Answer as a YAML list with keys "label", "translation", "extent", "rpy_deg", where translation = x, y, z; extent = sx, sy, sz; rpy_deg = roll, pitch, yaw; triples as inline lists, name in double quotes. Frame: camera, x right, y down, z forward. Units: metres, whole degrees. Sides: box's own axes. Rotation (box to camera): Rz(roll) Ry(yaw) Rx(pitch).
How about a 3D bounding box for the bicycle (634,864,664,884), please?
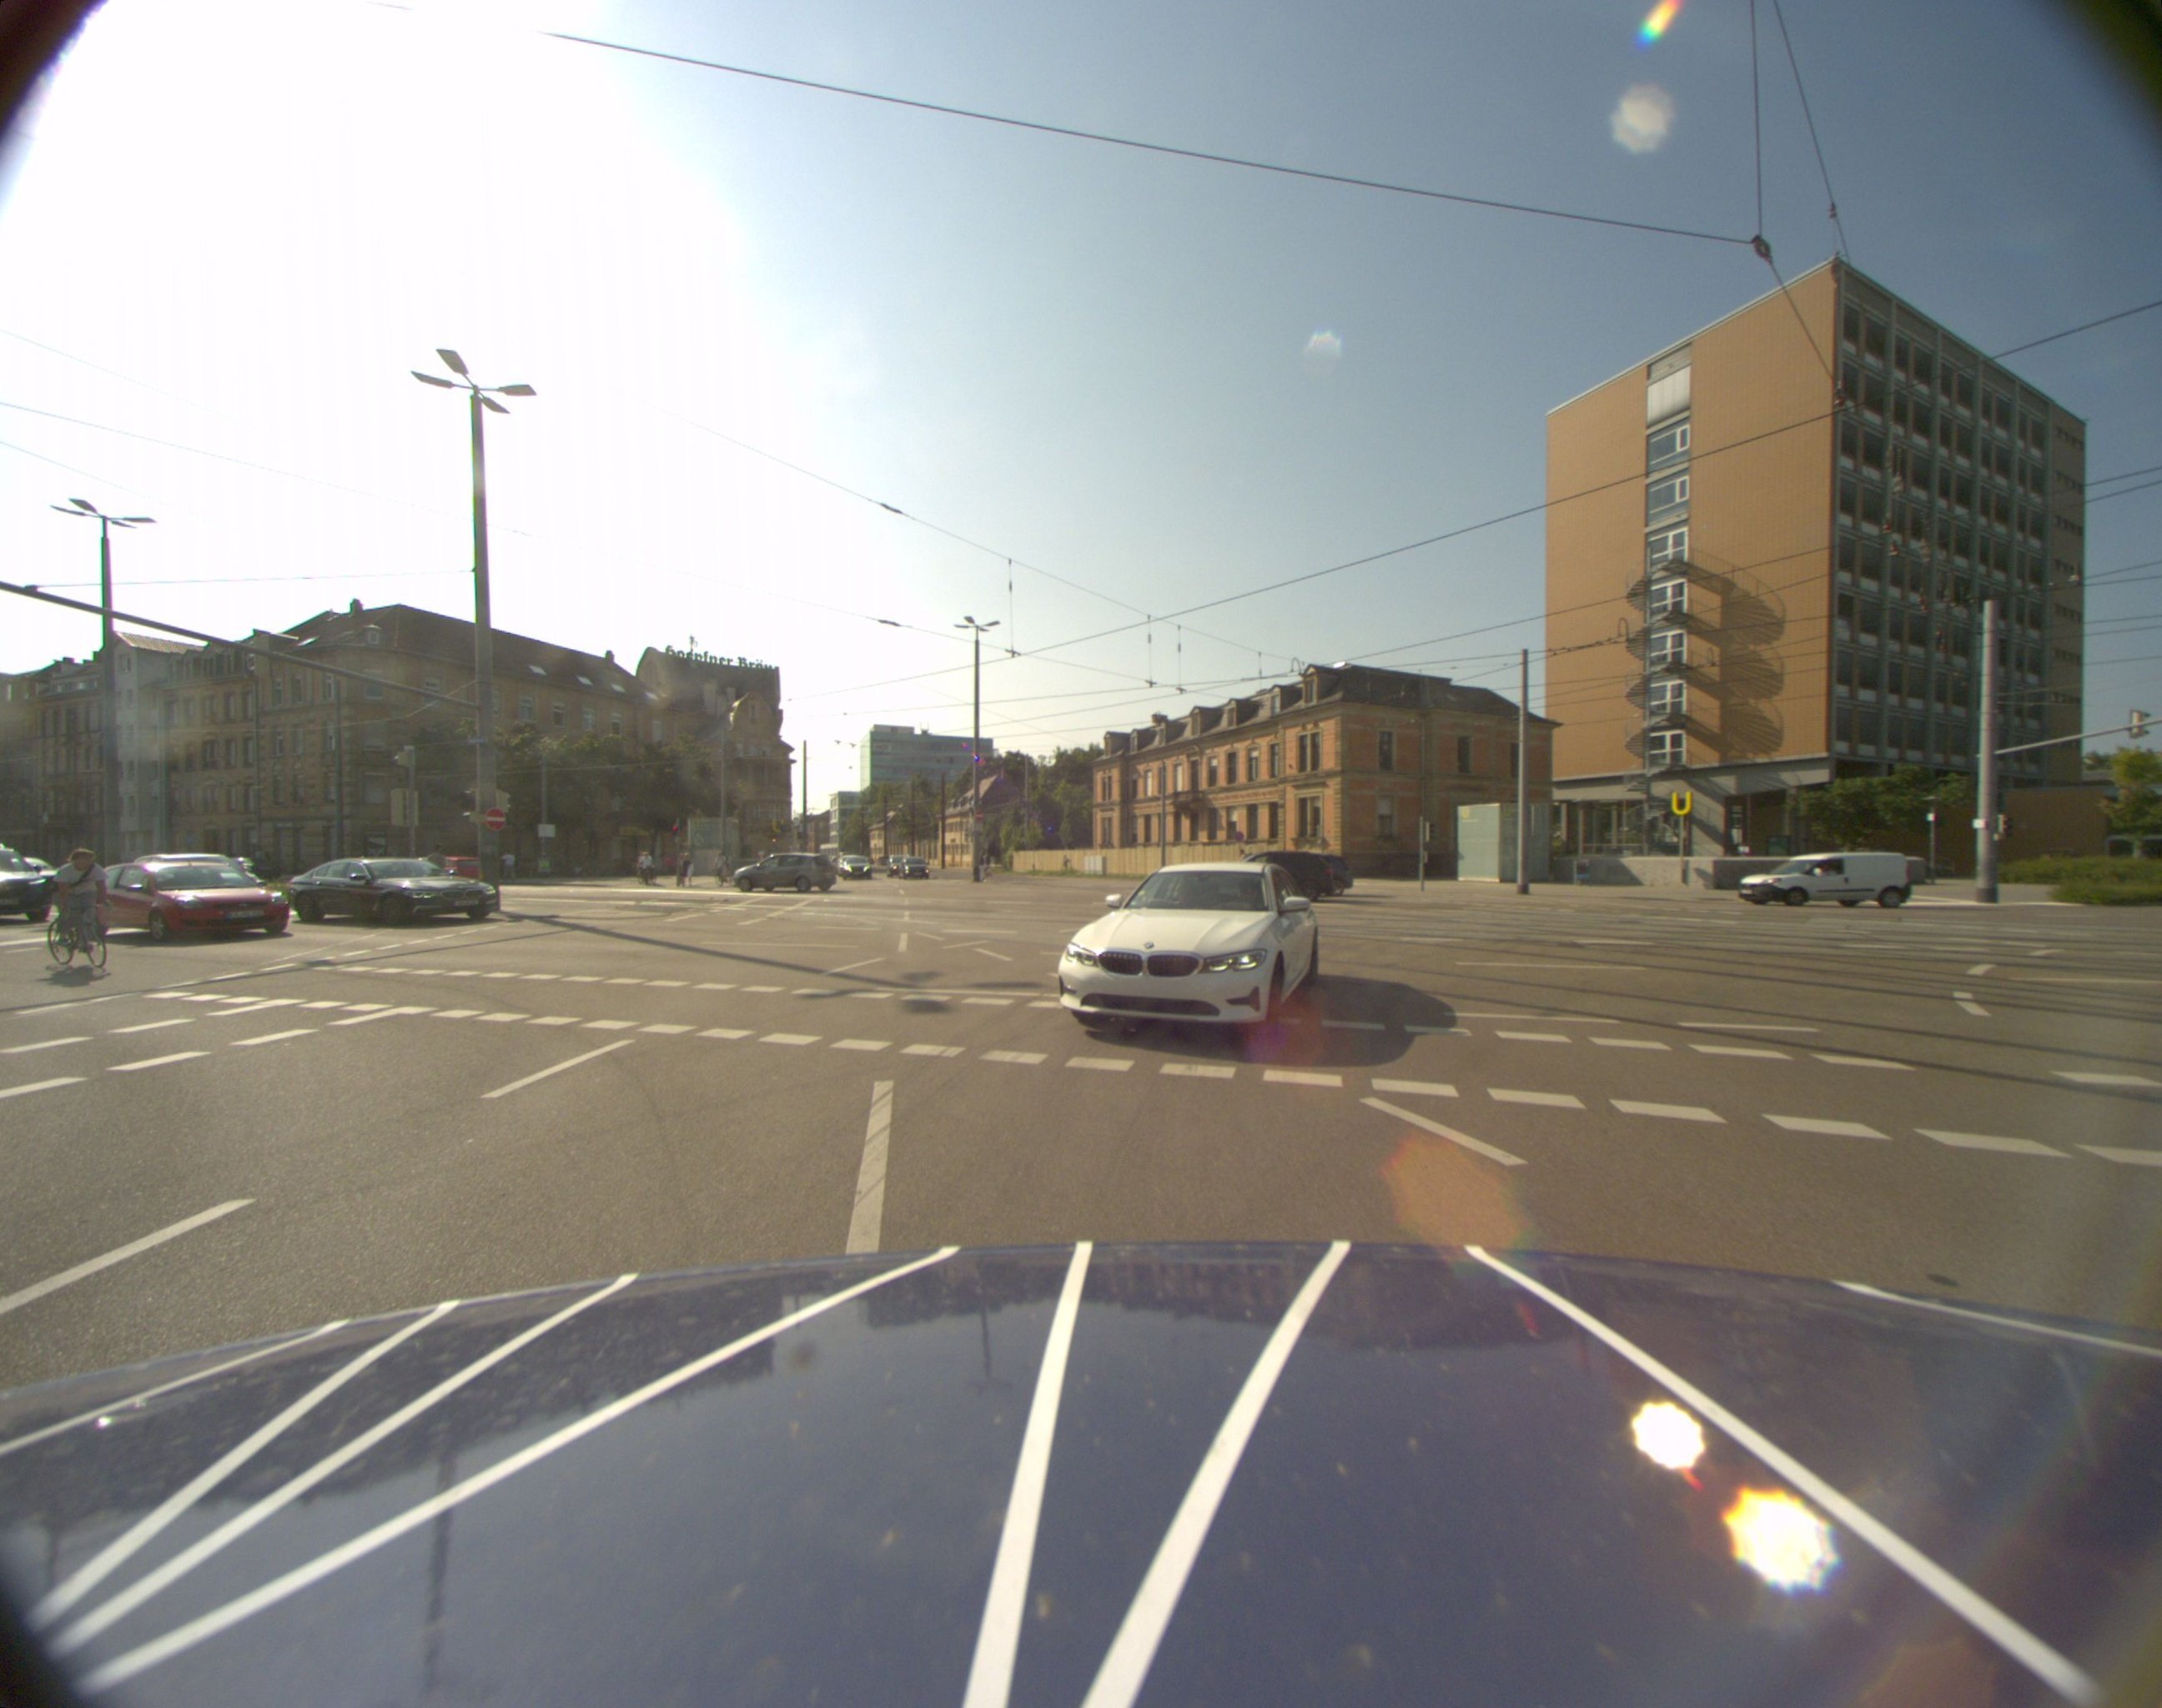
- label: "bicycle"
  translation: [-22.607, 1.040, 39.773]
  extent: [0.433, 1.019, 1.528]
  rpy_deg: [0, 0, 13]

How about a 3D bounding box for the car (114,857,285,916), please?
- label: "car"
  translation: [-23.617, 0.818, 20.385]
  extent: [3.549, 1.427, 1.806]
  rpy_deg: [0, 0, 19]

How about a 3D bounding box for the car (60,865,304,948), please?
- label: "car"
  translation: [-17.751, 0.958, 15.032]
  extent: [3.991, 1.407, 1.806]
  rpy_deg: [0, 0, 19]

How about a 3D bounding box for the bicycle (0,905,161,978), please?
- label: "bicycle"
  translation: [-14.929, 1.276, 11.200]
  extent: [2.195, 0.983, 0.529]
  rpy_deg: [0, 2, 4]

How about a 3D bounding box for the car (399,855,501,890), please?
- label: "car"
  translation: [-26.668, 0.755, 32.128]
  extent: [3.771, 1.439, 1.679]
  rpy_deg: [0, 0, 21]

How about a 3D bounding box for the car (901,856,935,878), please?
- label: "car"
  translation: [-10.749, 0.831, 49.899]
  extent: [1.695, 1.319, 3.993]
  rpy_deg: [0, 0, -20]

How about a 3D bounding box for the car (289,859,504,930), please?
- label: "car"
  translation: [-15.729, 0.861, 17.477]
  extent: [4.340, 1.443, 1.806]
  rpy_deg: [0, 0, 19]

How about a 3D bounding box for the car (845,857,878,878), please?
- label: "car"
  translation: [-15.046, 0.874, 51.911]
  extent: [1.929, 1.368, 3.993]
  rpy_deg: [0, 0, -20]

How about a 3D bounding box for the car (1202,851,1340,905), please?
- label: "car"
  translation: [6.218, 0.782, 25.237]
  extent: [4.283, 1.696, 1.770]
  rpy_deg: [0, -1, 10]

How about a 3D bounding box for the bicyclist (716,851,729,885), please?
- label: "bicyclist"
  translation: [-18.729, 0.725, 39.729]
  extent: [0.588, 1.720, 0.594]
  rpy_deg: [-1, 0, -23]

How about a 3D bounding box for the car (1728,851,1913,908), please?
- label: "car"
  translation: [25.099, 0.854, 25.936]
  extent: [4.283, 1.875, 1.796]
  rpy_deg: [0, -1, 9]

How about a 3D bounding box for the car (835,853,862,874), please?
- label: "car"
  translation: [-18.835, 0.730, 61.417]
  extent: [1.929, 1.627, 3.993]
  rpy_deg: [0, 0, -20]

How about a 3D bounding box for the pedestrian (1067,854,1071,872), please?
- label: "pedestrian"
  translation: [-1.030, 0.773, 65.102]
  extent: [0.237, 1.522, 0.326]
  rpy_deg: [0, 1, -24]

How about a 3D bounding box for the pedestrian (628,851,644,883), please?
- label: "pedestrian"
  translation: [-23.947, 0.675, 40.917]
  extent: [0.622, 1.716, 0.506]
  rpy_deg: [0, 0, 31]

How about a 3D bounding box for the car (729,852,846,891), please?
- label: "car"
  translation: [-12.344, 0.724, 32.071]
  extent: [4.283, 1.614, 1.816]
  rpy_deg: [0, -1, 9]

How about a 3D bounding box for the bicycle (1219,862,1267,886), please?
- label: "bicycle"
  translation: [7.583, 0.939, 35.600]
  extent: [2.183, 1.089, 0.530]
  rpy_deg: [0, 1, 17]

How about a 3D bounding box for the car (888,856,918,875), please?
- label: "car"
  translation: [-13.144, 0.825, 55.857]
  extent: [1.695, 1.319, 3.993]
  rpy_deg: [0, 0, -20]

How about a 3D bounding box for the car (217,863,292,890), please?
- label: "car"
  translation: [-47.498, 1.244, 43.660]
  extent: [3.830, 1.452, 1.744]
  rpy_deg: [0, 0, 24]

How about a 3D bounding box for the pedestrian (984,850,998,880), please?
- label: "pedestrian"
  translation: [-5.147, 0.630, 43.459]
  extent: [0.793, 1.677, 0.661]
  rpy_deg: [0, 1, -2]

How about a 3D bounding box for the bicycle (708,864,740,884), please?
- label: "bicycle"
  translation: [-18.663, 1.052, 39.743]
  extent: [1.528, 1.019, 0.433]
  rpy_deg: [-1, 1, -25]

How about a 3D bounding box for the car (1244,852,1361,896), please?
- label: "car"
  translation: [8.163, 0.742, 28.302]
  extent: [3.970, 1.572, 1.745]
  rpy_deg: [0, 0, 8]

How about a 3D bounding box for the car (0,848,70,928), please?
- label: "car"
  translation: [-26.565, 0.766, 17.977]
  extent: [4.762, 1.817, 1.806]
  rpy_deg: [0, 1, 19]

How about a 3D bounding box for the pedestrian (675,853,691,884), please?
- label: "pedestrian"
  translation: [-21.348, 0.760, 40.769]
  extent: [0.523, 1.631, 0.506]
  rpy_deg: [0, 0, 16]

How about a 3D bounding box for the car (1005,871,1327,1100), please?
- label: "car"
  translation: [1.244, 0.970, 7.644]
  extent: [1.811, 1.419, 4.782]
  rpy_deg: [-2, -1, 24]

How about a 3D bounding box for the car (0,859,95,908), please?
- label: "car"
  translation: [-33.886, 0.892, 24.240]
  extent: [3.991, 1.407, 1.806]
  rpy_deg: [0, 0, 19]

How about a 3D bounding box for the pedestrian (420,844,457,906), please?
- label: "pedestrian"
  translation: [-18.261, 0.593, 21.603]
  extent: [0.597, 1.720, 0.526]
  rpy_deg: [0, 1, 14]

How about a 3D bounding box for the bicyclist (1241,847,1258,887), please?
- label: "bicyclist"
  translation: [7.861, 0.590, 35.511]
  extent: [0.709, 1.851, 0.783]
  rpy_deg: [0, 1, 17]

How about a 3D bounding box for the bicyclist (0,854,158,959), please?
- label: "bicyclist"
  translation: [-14.748, 0.730, 11.190]
  extent: [0.971, 1.466, 1.088]
  rpy_deg: [0, 1, 3]

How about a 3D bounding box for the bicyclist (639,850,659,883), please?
- label: "bicyclist"
  translation: [-22.620, 0.654, 39.802]
  extent: [0.646, 1.707, 0.588]
  rpy_deg: [0, 0, 15]
